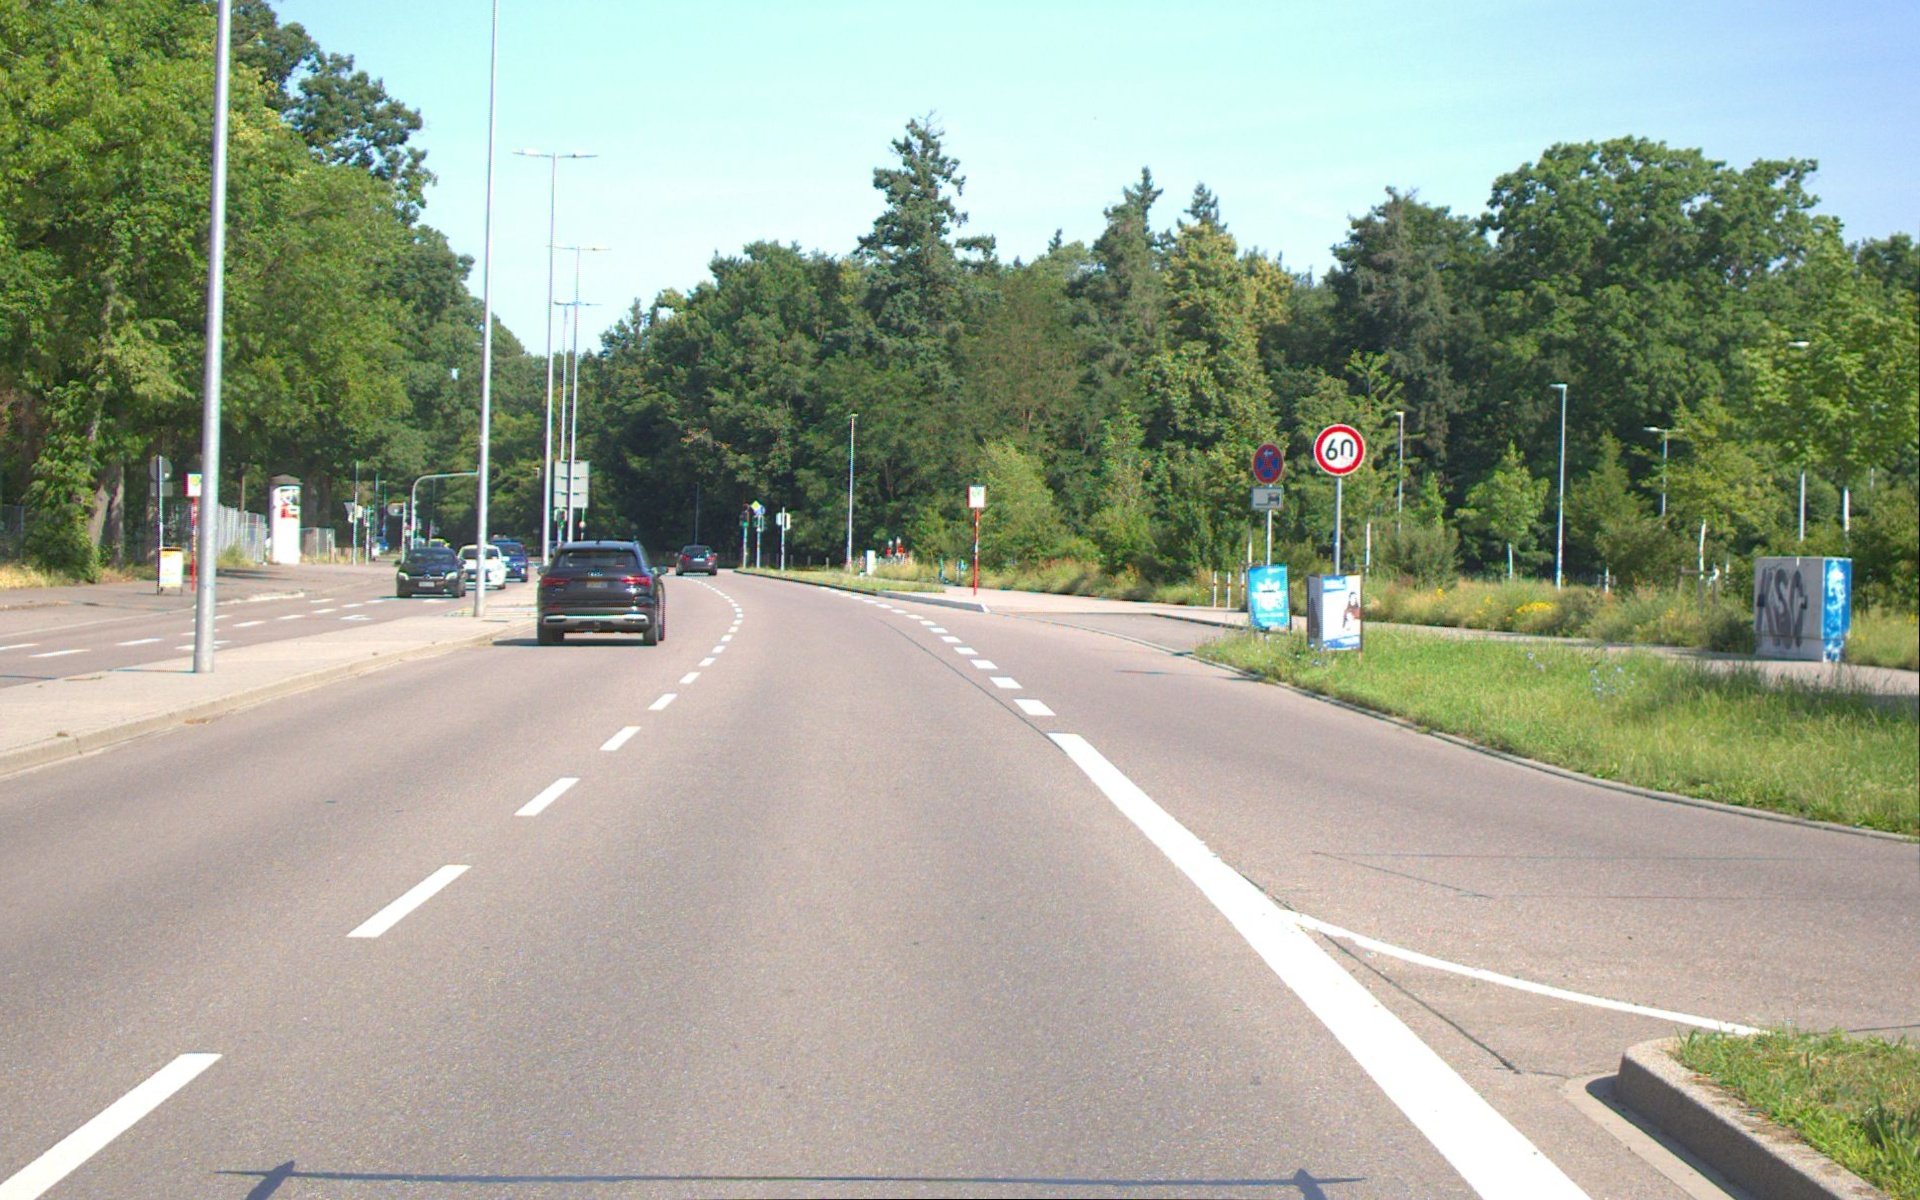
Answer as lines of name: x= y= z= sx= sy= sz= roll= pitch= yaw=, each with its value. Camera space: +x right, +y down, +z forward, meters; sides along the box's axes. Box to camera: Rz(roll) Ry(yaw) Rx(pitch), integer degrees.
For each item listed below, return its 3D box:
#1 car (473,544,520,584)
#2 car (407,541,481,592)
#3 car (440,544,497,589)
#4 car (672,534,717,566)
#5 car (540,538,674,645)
car: x=-18.000 y=-1.410 z=133.474 sx=1.753 sy=1.481 sz=3.948 roll=-1 pitch=1 yaw=-7
car: x=-14.611 y=-0.966 z=97.517 sx=1.810 sy=1.383 sz=4.162 roll=-1 pitch=1 yaw=-5
car: x=-16.376 y=-1.137 z=114.581 sx=1.622 sy=1.461 sz=3.801 roll=-1 pitch=1 yaw=-5
car: x=-12.616 y=-2.402 z=163.318 sx=1.940 sy=1.415 sz=4.294 roll=1 pitch=1 yaw=-6
car: x=-5.370 y=-0.156 z=52.679 sx=1.687 sy=1.539 sz=4.149 roll=1 pitch=1 yaw=-1
